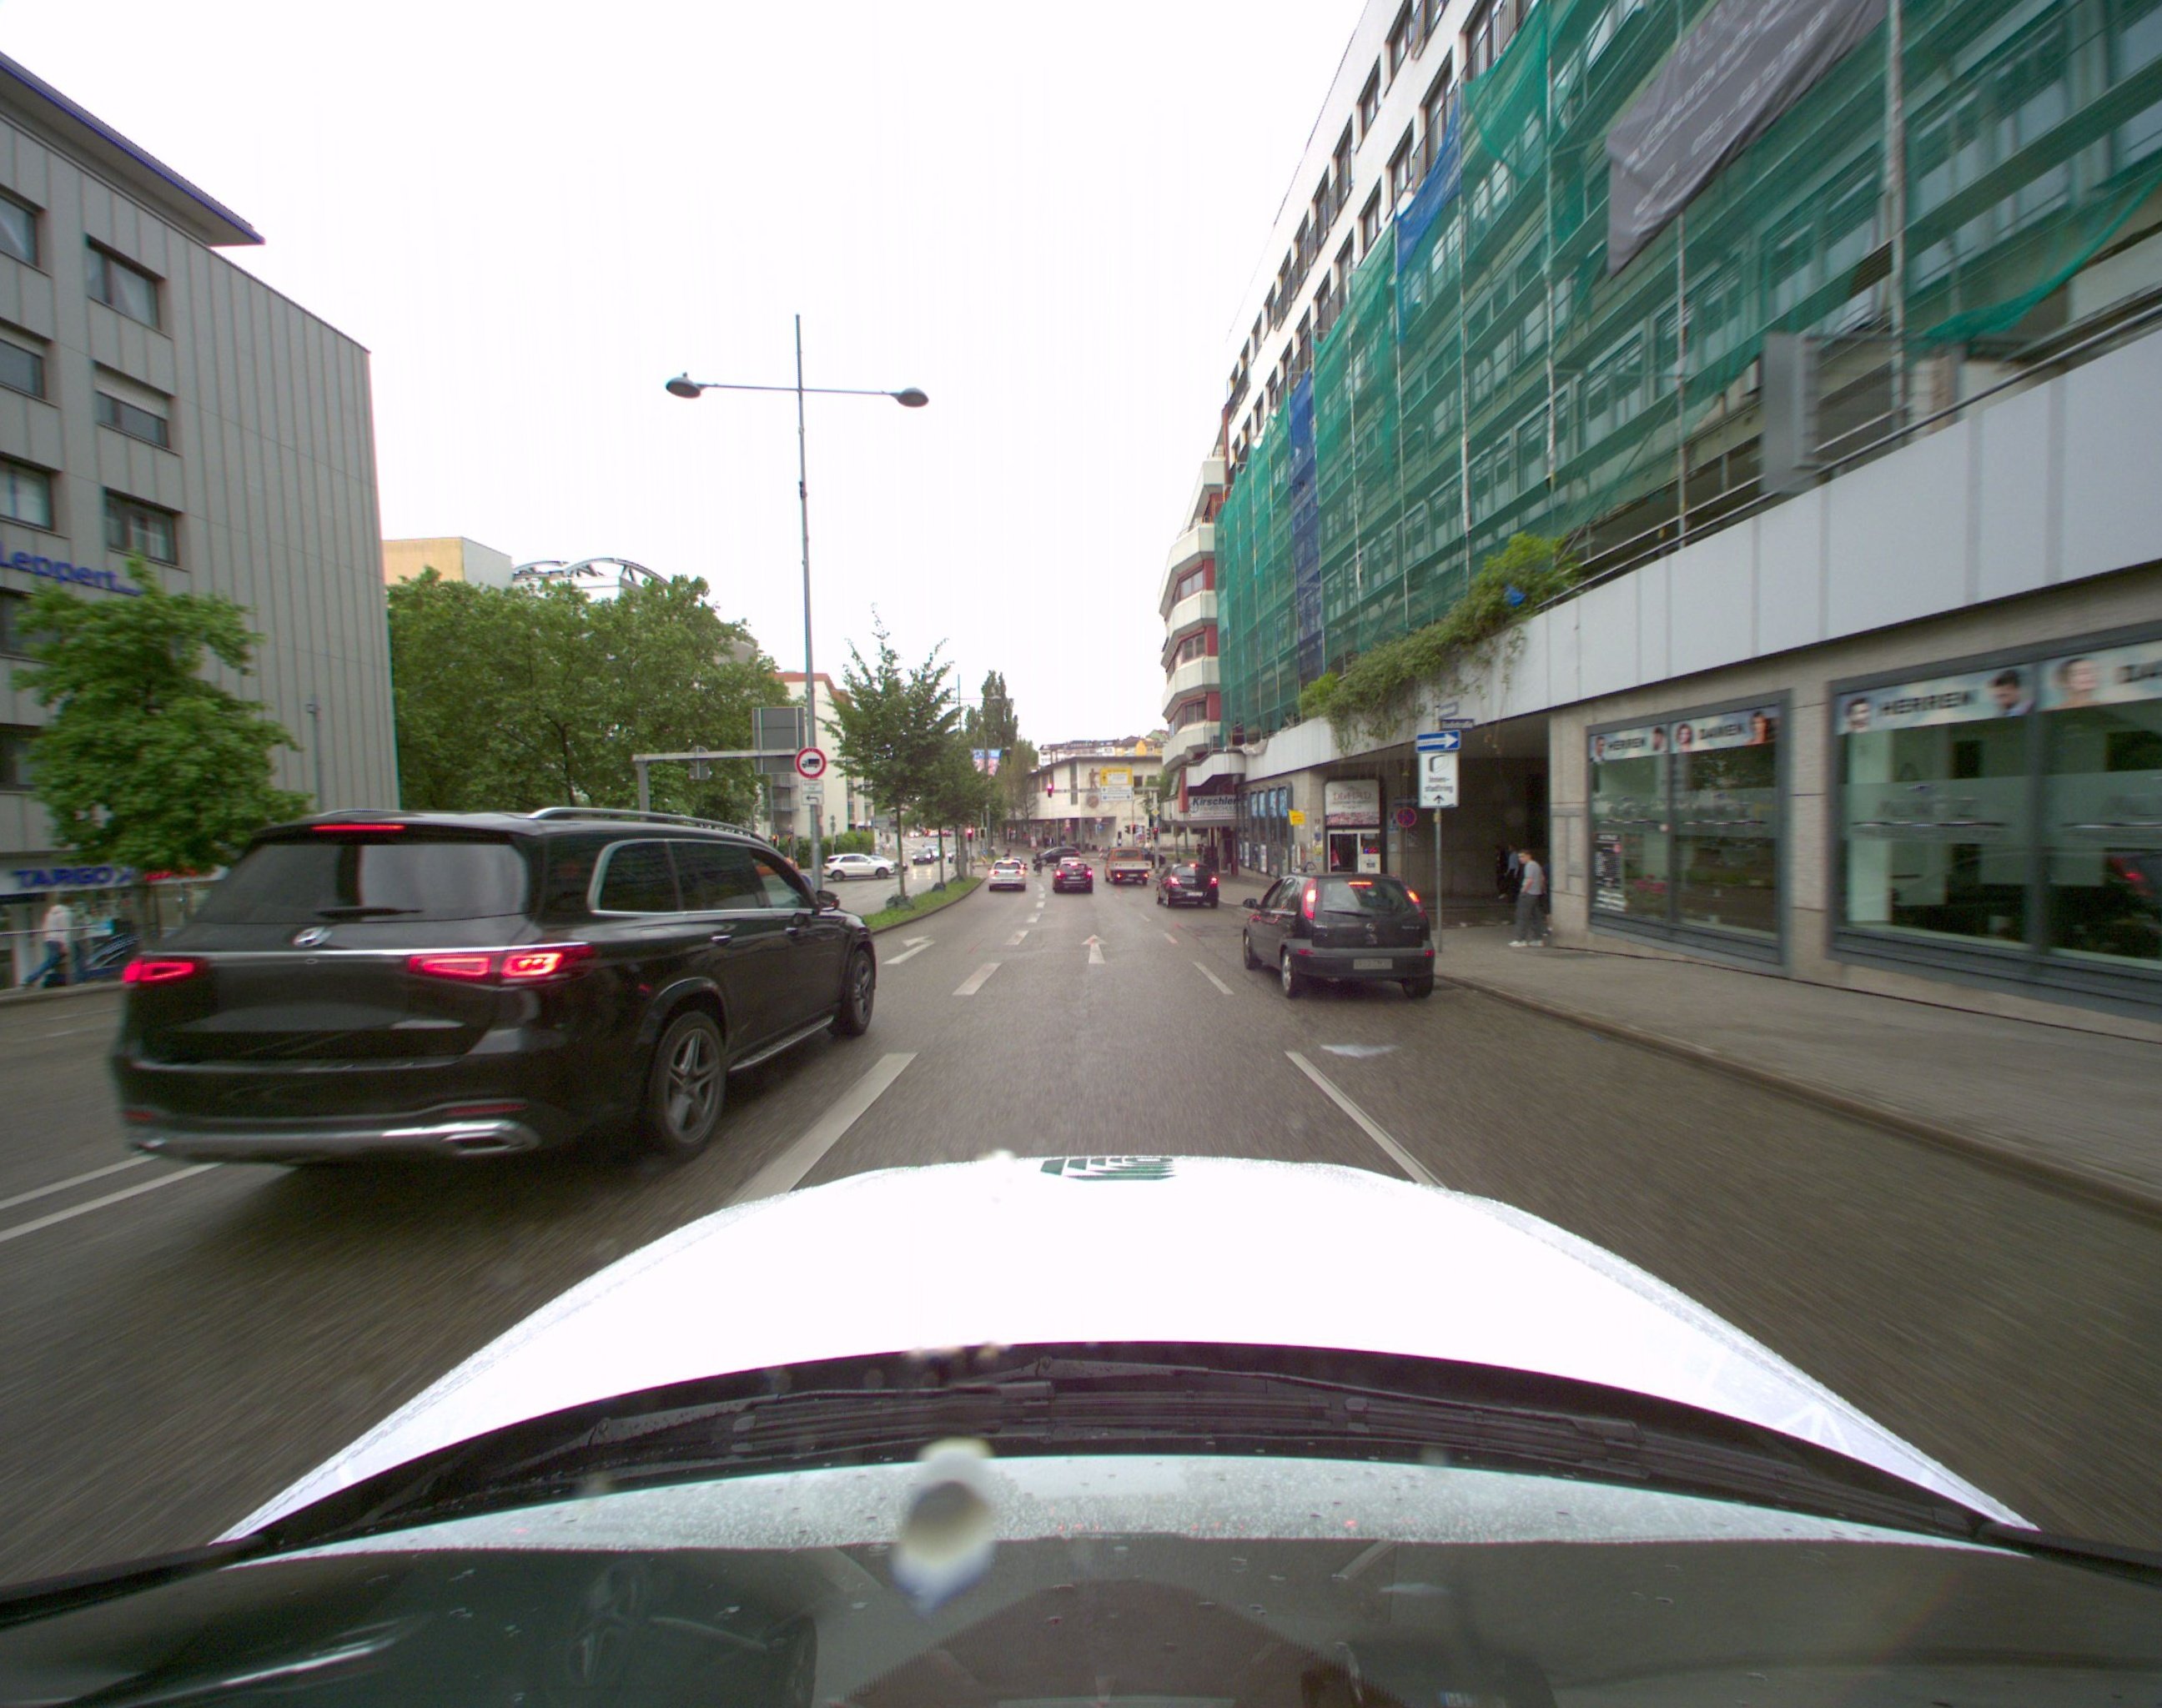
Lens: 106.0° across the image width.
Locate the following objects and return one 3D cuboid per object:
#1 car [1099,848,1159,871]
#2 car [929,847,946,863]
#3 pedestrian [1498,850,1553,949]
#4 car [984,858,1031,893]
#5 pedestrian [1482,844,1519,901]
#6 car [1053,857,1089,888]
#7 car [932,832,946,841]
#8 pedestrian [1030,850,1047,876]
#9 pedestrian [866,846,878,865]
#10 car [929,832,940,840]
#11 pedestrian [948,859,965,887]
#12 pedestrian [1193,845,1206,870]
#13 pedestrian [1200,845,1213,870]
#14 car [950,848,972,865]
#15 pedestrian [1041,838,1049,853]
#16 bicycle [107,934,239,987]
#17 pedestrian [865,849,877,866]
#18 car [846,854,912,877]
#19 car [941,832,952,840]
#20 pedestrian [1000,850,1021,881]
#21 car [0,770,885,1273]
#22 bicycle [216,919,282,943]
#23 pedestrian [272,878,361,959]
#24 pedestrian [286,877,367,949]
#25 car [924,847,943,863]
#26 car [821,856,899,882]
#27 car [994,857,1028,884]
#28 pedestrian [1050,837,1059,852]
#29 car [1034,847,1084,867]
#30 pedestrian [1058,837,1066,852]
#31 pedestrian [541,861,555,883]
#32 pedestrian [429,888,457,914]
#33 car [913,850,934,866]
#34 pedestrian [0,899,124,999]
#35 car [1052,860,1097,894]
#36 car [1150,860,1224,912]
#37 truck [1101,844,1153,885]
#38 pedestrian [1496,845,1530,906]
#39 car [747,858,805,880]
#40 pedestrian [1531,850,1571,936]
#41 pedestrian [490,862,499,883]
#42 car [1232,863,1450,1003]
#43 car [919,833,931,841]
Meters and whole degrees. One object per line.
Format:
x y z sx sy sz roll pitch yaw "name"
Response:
3.554 0.410 60.684 4.152 1.657 1.833 -1 -1 -13 "car"
-15.916 0.093 90.348 1.705 1.720 3.987 -1 0 -10 "car"
7.699 0.775 14.096 0.635 1.650 0.566 -4 -2 41 "pedestrian"
-3.554 1.019 39.817 1.944 1.574 3.998 -1 0 -1 "car"
13.491 0.585 26.207 0.716 1.721 0.769 -1 6 -4 "pedestrian"
-0.577 0.961 45.037 1.757 1.542 3.995 -1 1 -4 "car"
-31.875 -3.937 182.716 2.003 2.013 3.968 -1 0 -24 "car"
-2.825 0.588 54.317 1.006 1.722 0.839 -3 0 3 "pedestrian"
-20.652 0.125 80.464 0.911 1.803 0.620 -2 -1 -42 "pedestrian"
-30.914 -3.775 171.725 1.998 1.596 3.977 -1 0 -17 "car"
-8.047 1.238 52.534 0.831 1.722 0.820 -3 0 5 "pedestrian"
8.181 0.235 56.230 0.576 1.699 0.648 -3 -1 -11 "pedestrian"
8.739 0.227 56.607 0.577 1.699 0.647 -3 -1 -15 "pedestrian"
-11.329 0.229 77.083 1.817 1.549 3.992 -1 0 -5 "car"
-4.412 -1.035 99.425 0.800 1.803 0.913 -3 -1 -15 "pedestrian"
-24.333 2.826 21.923 0.610 1.087 2.669 -1 -1 -1 "bicycle"
-20.377 0.351 78.961 0.931 1.608 0.557 -2 -1 -42 "pedestrian"
-14.823 0.853 59.785 4.691 1.644 1.777 0 -1 -16 "car"
-29.008 -3.810 175.739 1.835 1.589 3.854 -1 0 -15 "car"
-4.410 0.700 50.876 1.058 1.882 0.839 -3 0 5 "pedestrian"
-2.938 0.619 5.367 2.081 1.817 4.792 1 0 0 "car"
-34.402 3.186 33.683 1.877 0.891 0.748 -1 -1 -4 "bicycle"
-17.468 1.445 18.655 0.815 1.713 1.310 -3 0 -8 "pedestrian"
-19.190 1.480 20.746 0.968 1.722 1.092 -3 0 6 "pedestrian"
-15.151 0.149 83.658 1.777 1.549 3.987 -1 0 -10 "car"
-15.077 1.000 55.917 5.077 1.759 1.991 0 -1 -13 "car"
-3.996 0.919 46.861 1.790 1.468 3.995 -1 0 -4 "car"
-3.253 -1.132 99.038 0.848 1.803 1.050 -3 -1 -15 "pedestrian"
-1.815 0.266 66.634 3.980 1.527 1.844 -1 0 -5 "car"
-2.289 -1.173 99.538 0.704 1.803 0.934 -3 -1 -15 "pedestrian"
-43.610 1.436 66.650 0.615 1.778 0.830 -3 0 -8 "pedestrian"
-32.851 2.419 41.935 0.954 1.272 0.753 -3 0 -27 "pedestrian"
-14.685 0.356 76.020 1.705 1.451 3.850 -1 0 -8 "car"
-19.212 1.753 15.376 0.990 1.722 1.037 -3 0 -4 "pedestrian"
-0.355 1.041 38.282 1.809 1.441 3.993 0 0 -5 "car"
3.552 1.032 27.998 1.944 1.574 3.998 -1 0 -1 "car"
2.476 0.567 45.241 2.179 2.082 5.595 -1 0 -4 "truck"
13.440 0.646 25.358 0.614 1.778 0.838 -3 5 -3 "pedestrian"
-23.701 1.178 63.354 4.001 1.616 1.767 -1 -1 -13 "car"
9.412 0.768 16.328 0.593 1.662 0.578 -1 1 21 "pedestrian"
-47.684 1.482 66.193 0.509 1.709 0.610 -2 0 -43 "pedestrian"
3.090 0.851 10.473 1.710 1.420 3.772 -2 -1 2 "car"
-34.610 -3.738 180.859 1.756 1.554 3.541 -1 0 -24 "car"
